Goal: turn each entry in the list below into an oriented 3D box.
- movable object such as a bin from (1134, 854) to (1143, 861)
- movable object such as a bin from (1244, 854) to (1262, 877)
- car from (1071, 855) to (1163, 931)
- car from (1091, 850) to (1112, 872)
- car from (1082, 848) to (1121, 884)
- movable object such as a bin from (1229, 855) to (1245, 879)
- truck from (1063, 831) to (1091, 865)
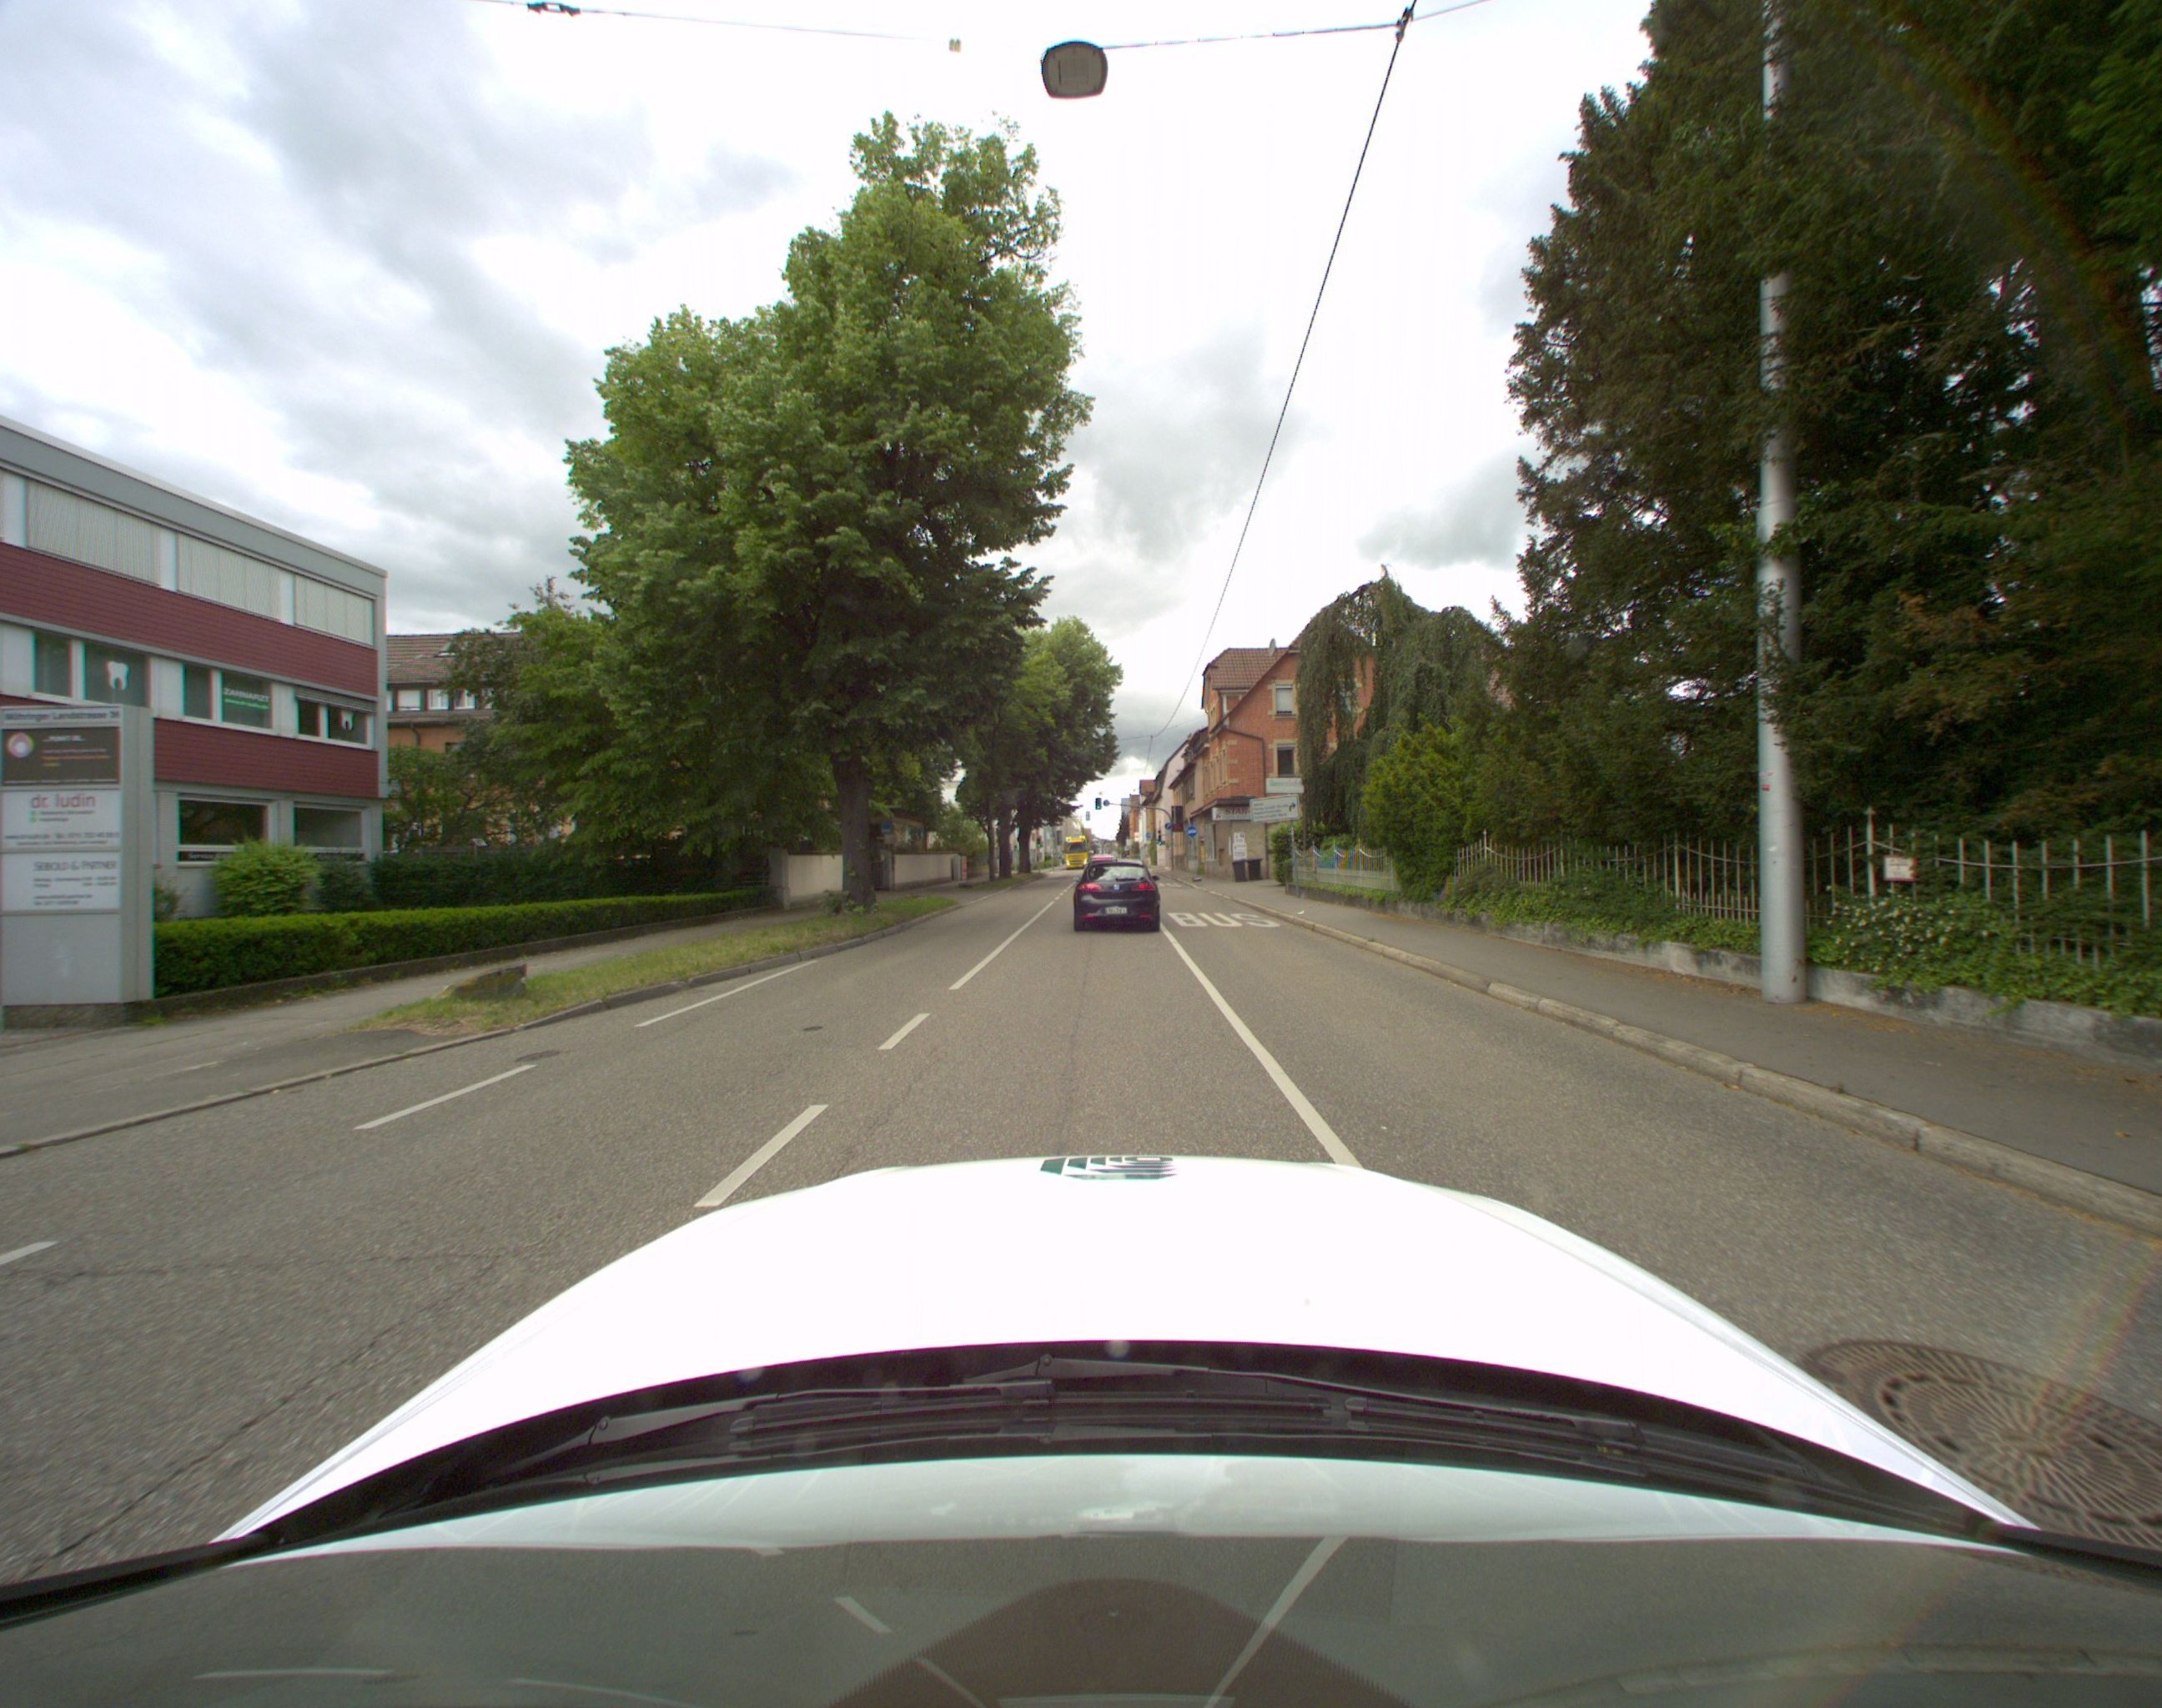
[{"bbox_3d":[11.811,0.749,167.137,1.811,1.437,1.994,0,-1,2],"label":"movable object such as a bin"},{"bbox_3d":[8.187,0.562,38.785,0.696,1.059,0.724,-3,-1,2],"label":"movable object such as a bin"},{"bbox_3d":[0.743,0.771,17.517,1.752,1.442,4.001,0,-1,2],"label":"car"},{"bbox_3d":[1.568,0.536,62.904,1.526,1.693,3.694,0,-1,1],"label":"car"},{"bbox_3d":[0.999,0.579,39.757,1.836,1.693,4.001,0,-1,1],"label":"car"},{"bbox_3d":[7.422,0.611,38.769,0.604,1.101,0.623,-3,-1,2],"label":"movable object such as a bin"},{"bbox_3d":[-0.438,-0.617,92.662,2.832,3.782,7.673,0,-1,2],"label":"truck"}]
